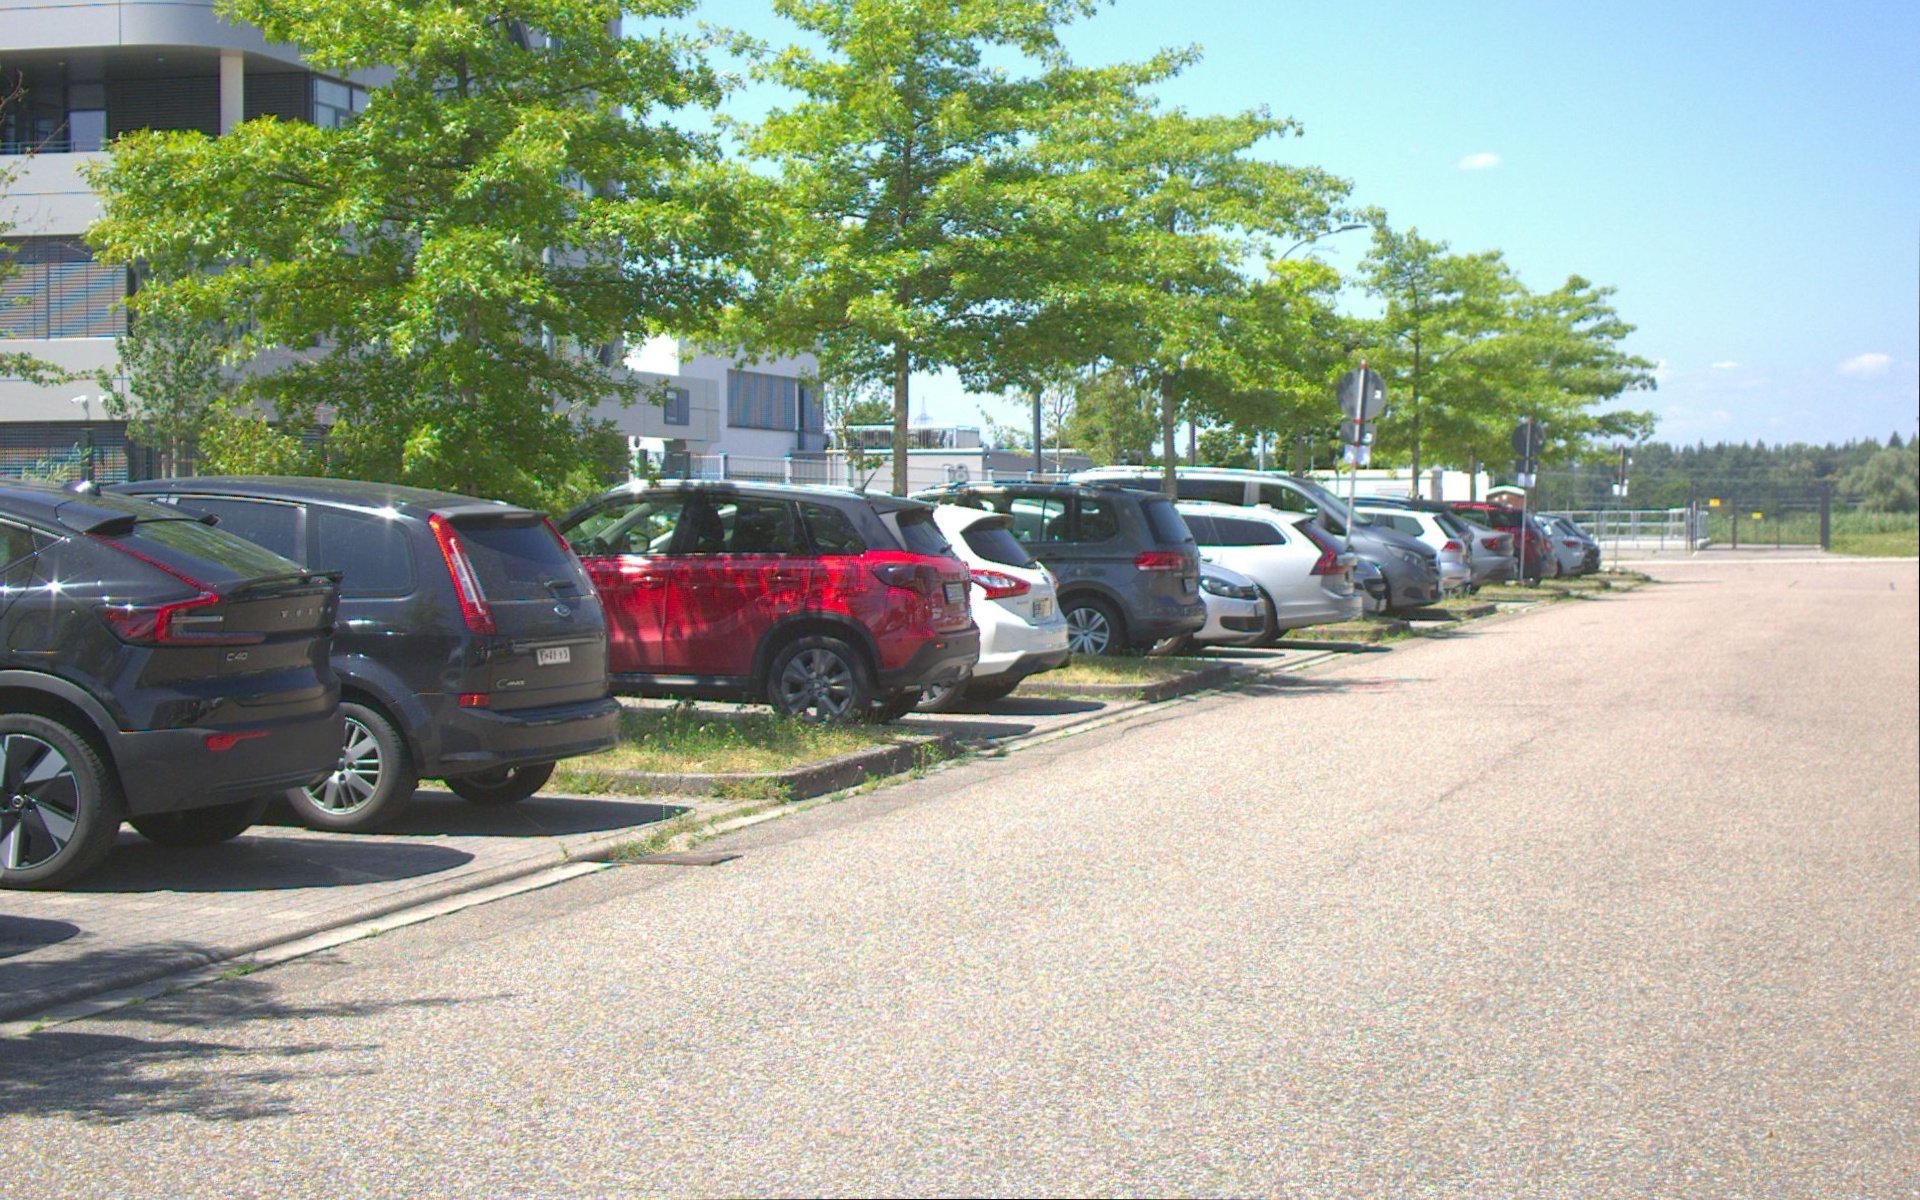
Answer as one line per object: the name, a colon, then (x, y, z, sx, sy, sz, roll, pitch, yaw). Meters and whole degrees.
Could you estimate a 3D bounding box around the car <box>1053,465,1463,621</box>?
car: (3.960, -0.782, 45.568, 5.074, 1.885, 1.995, 2, 2, 17)

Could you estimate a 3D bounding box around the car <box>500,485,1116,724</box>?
car: (-1.106, -0.019, 25.501, 4.175, 1.508, 1.806, 3, 3, 17)

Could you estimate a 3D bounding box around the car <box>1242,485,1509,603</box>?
car: (6.519, -0.893, 53.794, 3.989, 1.672, 1.776, 2, 2, 10)

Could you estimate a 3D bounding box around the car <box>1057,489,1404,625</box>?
car: (3.357, -0.558, 42.498, 3.972, 1.479, 1.763, 3, 2, 16)

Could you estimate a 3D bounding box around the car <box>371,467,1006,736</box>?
car: (-1.771, -0.038, 22.890, 3.841, 1.586, 1.726, 2, 2, 13)

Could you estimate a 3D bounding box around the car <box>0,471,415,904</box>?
car: (-4.422, 0.258, 14.261, 3.840, 1.588, 1.828, 2, 2, 12)

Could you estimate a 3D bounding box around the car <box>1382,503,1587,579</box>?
car: (10.916, -1.230, 71.513, 4.077, 1.419, 1.873, 2, 2, 12)

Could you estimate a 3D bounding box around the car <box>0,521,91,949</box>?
car: (-5.010, 0.411, 11.817, 3.507, 1.436, 1.726, 2, 2, 15)

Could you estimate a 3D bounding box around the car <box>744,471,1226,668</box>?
car: (0.249, -0.313, 31.793, 4.120, 1.629, 1.726, 2, 2, 14)

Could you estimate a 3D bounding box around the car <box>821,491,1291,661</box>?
car: (0.962, -0.270, 33.717, 4.313, 1.468, 1.726, 2, 2, 13)

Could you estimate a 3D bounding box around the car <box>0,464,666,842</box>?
car: (-3.573, 0.181, 16.554, 3.909, 1.586, 1.726, 2, 2, 15)

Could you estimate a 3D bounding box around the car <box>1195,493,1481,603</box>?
car: (5.651, -0.795, 51.297, 4.039, 1.456, 1.603, 2, 2, 12)

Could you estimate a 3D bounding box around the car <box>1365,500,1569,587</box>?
car: (9.564, -1.078, 64.773, 3.658, 1.503, 1.730, 2, 2, 12)

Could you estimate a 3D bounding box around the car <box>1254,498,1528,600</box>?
car: (7.061, -0.846, 56.257, 4.196, 1.475, 1.711, 3, 2, 16)

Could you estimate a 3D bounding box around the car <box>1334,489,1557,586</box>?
car: (8.802, -1.148, 62.270, 3.740, 1.616, 1.815, 2, 2, 16)

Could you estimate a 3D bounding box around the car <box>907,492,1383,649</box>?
car: (1.968, -0.340, 36.070, 4.715, 1.442, 1.857, 2, 2, 12)
